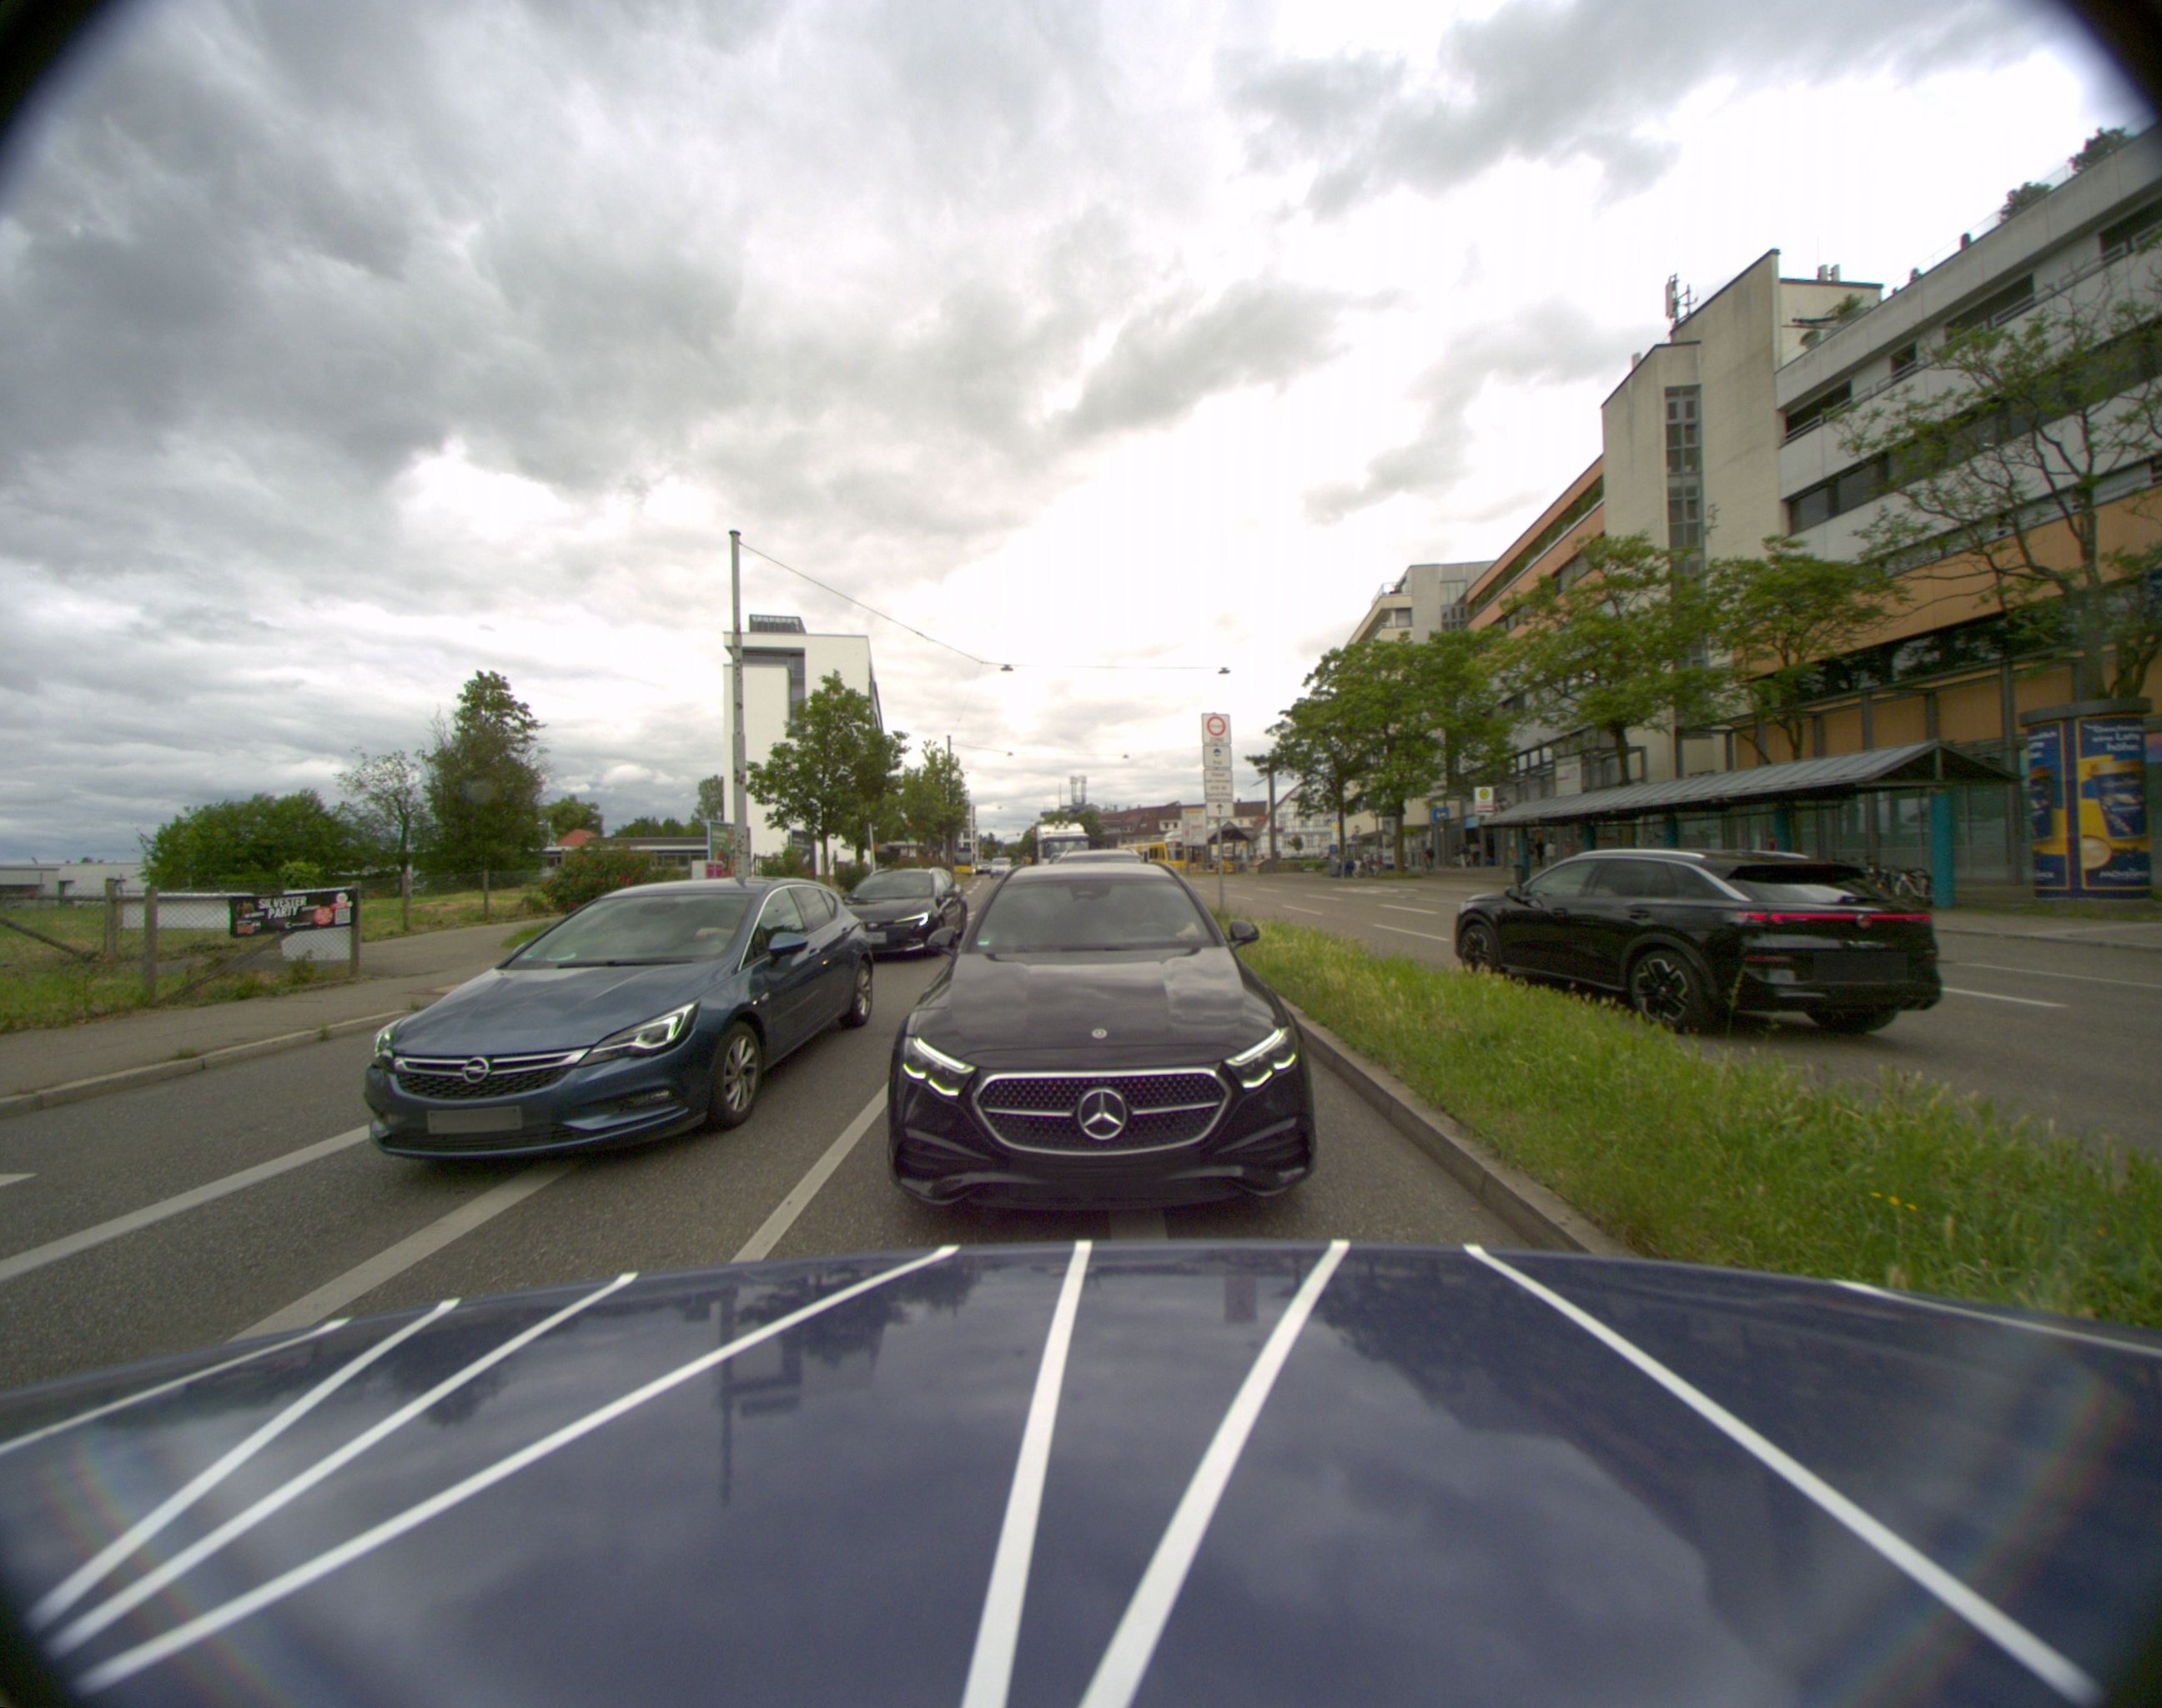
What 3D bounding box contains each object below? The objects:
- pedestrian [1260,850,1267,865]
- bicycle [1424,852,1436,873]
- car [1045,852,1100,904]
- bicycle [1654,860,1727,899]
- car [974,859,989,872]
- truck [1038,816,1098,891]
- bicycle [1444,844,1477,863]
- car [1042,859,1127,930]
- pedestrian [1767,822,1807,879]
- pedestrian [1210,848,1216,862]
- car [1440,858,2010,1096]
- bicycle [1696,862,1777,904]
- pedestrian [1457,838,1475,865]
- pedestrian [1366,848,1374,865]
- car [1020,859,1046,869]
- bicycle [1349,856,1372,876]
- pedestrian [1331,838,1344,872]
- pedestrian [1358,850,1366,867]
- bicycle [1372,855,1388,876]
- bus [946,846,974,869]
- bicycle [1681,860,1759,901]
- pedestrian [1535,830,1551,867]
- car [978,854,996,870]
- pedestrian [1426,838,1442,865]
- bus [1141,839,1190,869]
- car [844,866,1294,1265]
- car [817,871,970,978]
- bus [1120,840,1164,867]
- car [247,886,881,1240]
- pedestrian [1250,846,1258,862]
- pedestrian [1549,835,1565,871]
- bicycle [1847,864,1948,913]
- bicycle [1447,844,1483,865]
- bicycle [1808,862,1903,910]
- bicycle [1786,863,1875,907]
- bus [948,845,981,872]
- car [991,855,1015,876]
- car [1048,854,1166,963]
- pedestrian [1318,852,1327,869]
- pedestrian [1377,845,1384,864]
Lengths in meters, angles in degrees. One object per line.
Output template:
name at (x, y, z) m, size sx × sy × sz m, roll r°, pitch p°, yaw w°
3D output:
pedestrian at (19.213, 0.370, 80.059) m, size 0.577 × 1.533 × 0.583 m, roll -1°, pitch 1°, yaw -8°
bicycle at (19.481, 0.471, 42.383) m, size 0.593 × 1.119 × 2.040 m, roll 0°, pitch 1°, yaw 24°
car at (-0.371, 0.811, 28.343) m, size 1.865 × 1.773 × 3.999 m, roll -1°, pitch 0°, yaw -2°
bicycle at (18.200, 0.749, 22.701) m, size 1.735 × 1.035 × 0.549 m, roll -3°, pitch 1°, yaw -2°
car at (-14.734, 1.689, 111.921) m, size 2.000 × 1.811 × 3.996 m, roll -1°, pitch 0°, yaw -10°
truck at (-0.772, -0.040, 36.721) m, size 2.490 × 3.258 × 7.428 m, roll -1°, pitch 0°, yaw -4°
bicycle at (27.750, -0.025, 55.550) m, size 2.138 × 1.358 × 0.620 m, roll -2°, pitch 1°, yaw 26°
car at (0.040, 0.913, 18.906) m, size 1.865 × 1.520 × 3.999 m, roll -1°, pitch 0°, yaw -1°
pedestrian at (25.648, -0.134, 27.616) m, size 0.710 × 2.002 × 0.793 m, roll -2°, pitch 1°, yaw -10°
pedestrian at (18.369, 0.117, 105.572) m, size 0.742 × 2.002 × 0.939 m, roll -1°, pitch 1°, yaw 11°
car at (5.520, 0.866, 7.357) m, size 1.840 × 1.512 × 4.069 m, roll -2°, pitch 1°, yaw -6°
bicycle at (17.943, 0.791, 20.808) m, size 1.735 × 1.035 × 0.549 m, roll -3°, pitch 1°, yaw -2°
pedestrian at (24.699, -0.172, 48.709) m, size 0.765 × 1.673 × 0.752 m, roll -1°, pitch 1°, yaw 1°
pedestrian at (25.478, 0.254, 67.083) m, size 0.555 × 1.485 × 0.454 m, roll -1°, pitch 1°, yaw 8°
car at (-8.110, 1.669, 128.800) m, size 4.007 × 1.592 × 1.995 m, roll -1°, pitch 1°, yaw -35°
bicycle at (15.473, 0.657, 42.015) m, size 0.593 × 1.071 × 2.041 m, roll 0°, pitch 1°, yaw 38°
pedestrian at (17.353, 0.081, 51.404) m, size 0.590 × 2.294 × 0.608 m, roll -1°, pitch 1°, yaw -2°
pedestrian at (24.807, 0.357, 67.165) m, size 0.555 × 1.485 × 0.454 m, roll -1°, pitch 1°, yaw 8°
bicycle at (16.396, 0.624, 41.644) m, size 0.593 × 1.071 × 2.041 m, roll 0°, pitch 1°, yaw 29°
bus at (-15.230, 0.354, 95.047) m, size 2.969 × 2.616 × 12.911 m, roll -2°, pitch 1°, yaw -11°
bicycle at (18.278, 0.744, 21.741) m, size 1.735 × 1.035 × 0.549 m, roll -4°, pitch 1°, yaw -2°
pedestrian at (25.661, -0.304, 42.208) m, size 0.566 × 2.002 × 0.611 m, roll -1°, pitch 1°, yaw 6°
car at (-11.928, 0.999, 96.472) m, size 1.853 × 1.875 × 4.132 m, roll -3°, pitch 0°, yaw -12°
pedestrian at (24.551, -0.157, 52.911) m, size 0.765 × 1.835 × 0.752 m, roll -1°, pitch 1°, yaw 1°
bus at (8.692, 0.009, 79.012) m, size 2.556 × 2.966 × 8.498 m, roll -1°, pitch 0°, yaw -11°
car at (-0.057, 0.885, 5.187) m, size 1.793 × 1.507 × 4.249 m, roll -1°, pitch 0°, yaw 0°
car at (-3.081, 1.096, 13.274) m, size 1.665 × 1.448 × 3.921 m, roll -2°, pitch 0°, yaw 0°
bus at (6.927, -0.045, 87.948) m, size 2.556 × 2.966 × 9.790 m, roll -1°, pitch 0°, yaw -11°
car at (-2.918, 1.051, 5.524) m, size 1.826 × 1.402 × 4.000 m, roll -2°, pitch 0°, yaw 0°
pedestrian at (22.471, 0.010, 98.892) m, size 0.879 × 2.002 × 1.010 m, roll -1°, pitch 1°, yaw 6°
pedestrian at (24.093, -0.046, 38.487) m, size 0.648 × 1.799 × 0.761 m, roll 0°, pitch 1°, yaw 34°
bicycle at (18.680, 0.785, 17.396) m, size 1.735 × 1.035 × 0.549 m, roll -2°, pitch 1°, yaw -2°
bicycle at (26.988, 0.033, 53.398) m, size 2.139 × 1.367 × 0.620 m, roll -2°, pitch 1°, yaw 18°
bicycle at (18.621, 0.753, 18.282) m, size 1.735 × 1.035 × 0.549 m, roll -3°, pitch 1°, yaw -2°
bicycle at (19.020, 0.775, 19.306) m, size 1.735 × 1.035 × 0.549 m, roll -2°, pitch 1°, yaw -2°
bus at (-12.824, 0.398, 82.724) m, size 2.969 × 2.616 × 12.137 m, roll -2°, pitch 1°, yaw -11°
car at (-6.458, 0.914, 62.712) m, size 1.852 × 1.606 × 3.781 m, roll -3°, pitch 0°, yaw -6°
car at (0.388, 0.822, 13.480) m, size 1.734 × 1.601 × 4.000 m, roll -2°, pitch 0°, yaw 0°
pedestrian at (22.258, 0.588, 70.073) m, size 0.577 × 1.533 × 0.583 m, roll -1°, pitch 1°, yaw -8°
pedestrian at (26.251, 0.022, 66.635) m, size 0.486 × 1.629 × 0.439 m, roll -2°, pitch 1°, yaw 18°
